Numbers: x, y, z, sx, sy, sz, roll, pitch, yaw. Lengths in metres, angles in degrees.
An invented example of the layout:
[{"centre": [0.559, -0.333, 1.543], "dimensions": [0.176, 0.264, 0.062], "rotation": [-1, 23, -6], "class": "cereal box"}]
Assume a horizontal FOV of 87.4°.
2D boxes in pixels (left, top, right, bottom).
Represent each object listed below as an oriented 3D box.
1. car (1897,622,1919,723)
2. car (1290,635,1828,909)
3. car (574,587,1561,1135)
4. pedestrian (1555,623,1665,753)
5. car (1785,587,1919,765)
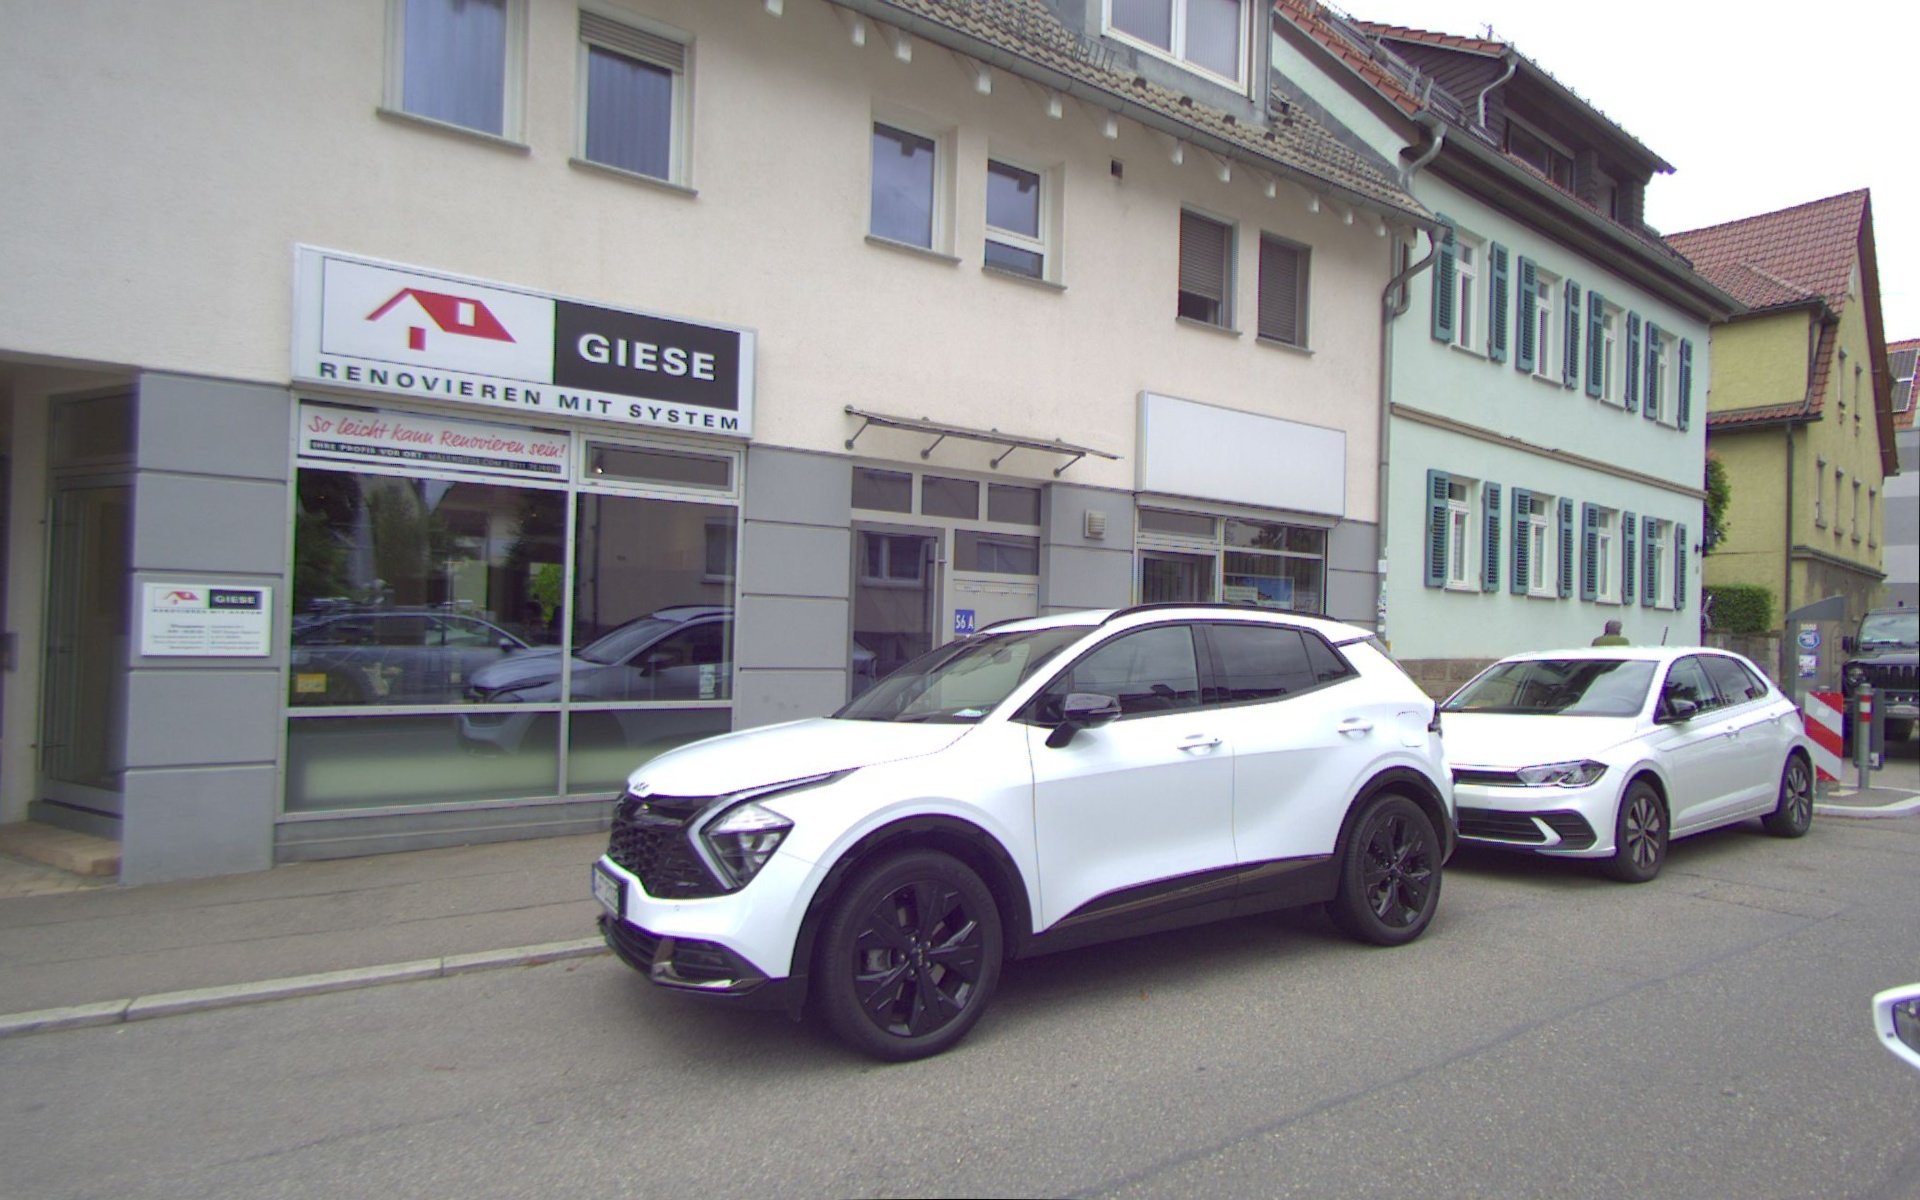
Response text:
[{"centre": [18.212, 1.208, 17.697], "dimensions": [4.486, 1.640, 1.882], "rotation": [0, -1, -39], "class": "car"}, {"centre": [4.573, 1.037, 7.574], "dimensions": [3.876, 1.455, 1.986], "rotation": [1, 0, -33], "class": "car"}, {"centre": [0.733, 0.818, 5.136], "dimensions": [4.802, 1.655, 1.988], "rotation": [1, 0, -31], "class": "car"}, {"centre": [8.207, 1.082, 12.686], "dimensions": [0.965, 1.520, 0.801], "rotation": [2, 1, -33], "class": "pedestrian"}, {"centre": [12.739, 0.911, 13.054], "dimensions": [4.625, 2.040, 1.980], "rotation": [1, -3, -36], "class": "car"}]
